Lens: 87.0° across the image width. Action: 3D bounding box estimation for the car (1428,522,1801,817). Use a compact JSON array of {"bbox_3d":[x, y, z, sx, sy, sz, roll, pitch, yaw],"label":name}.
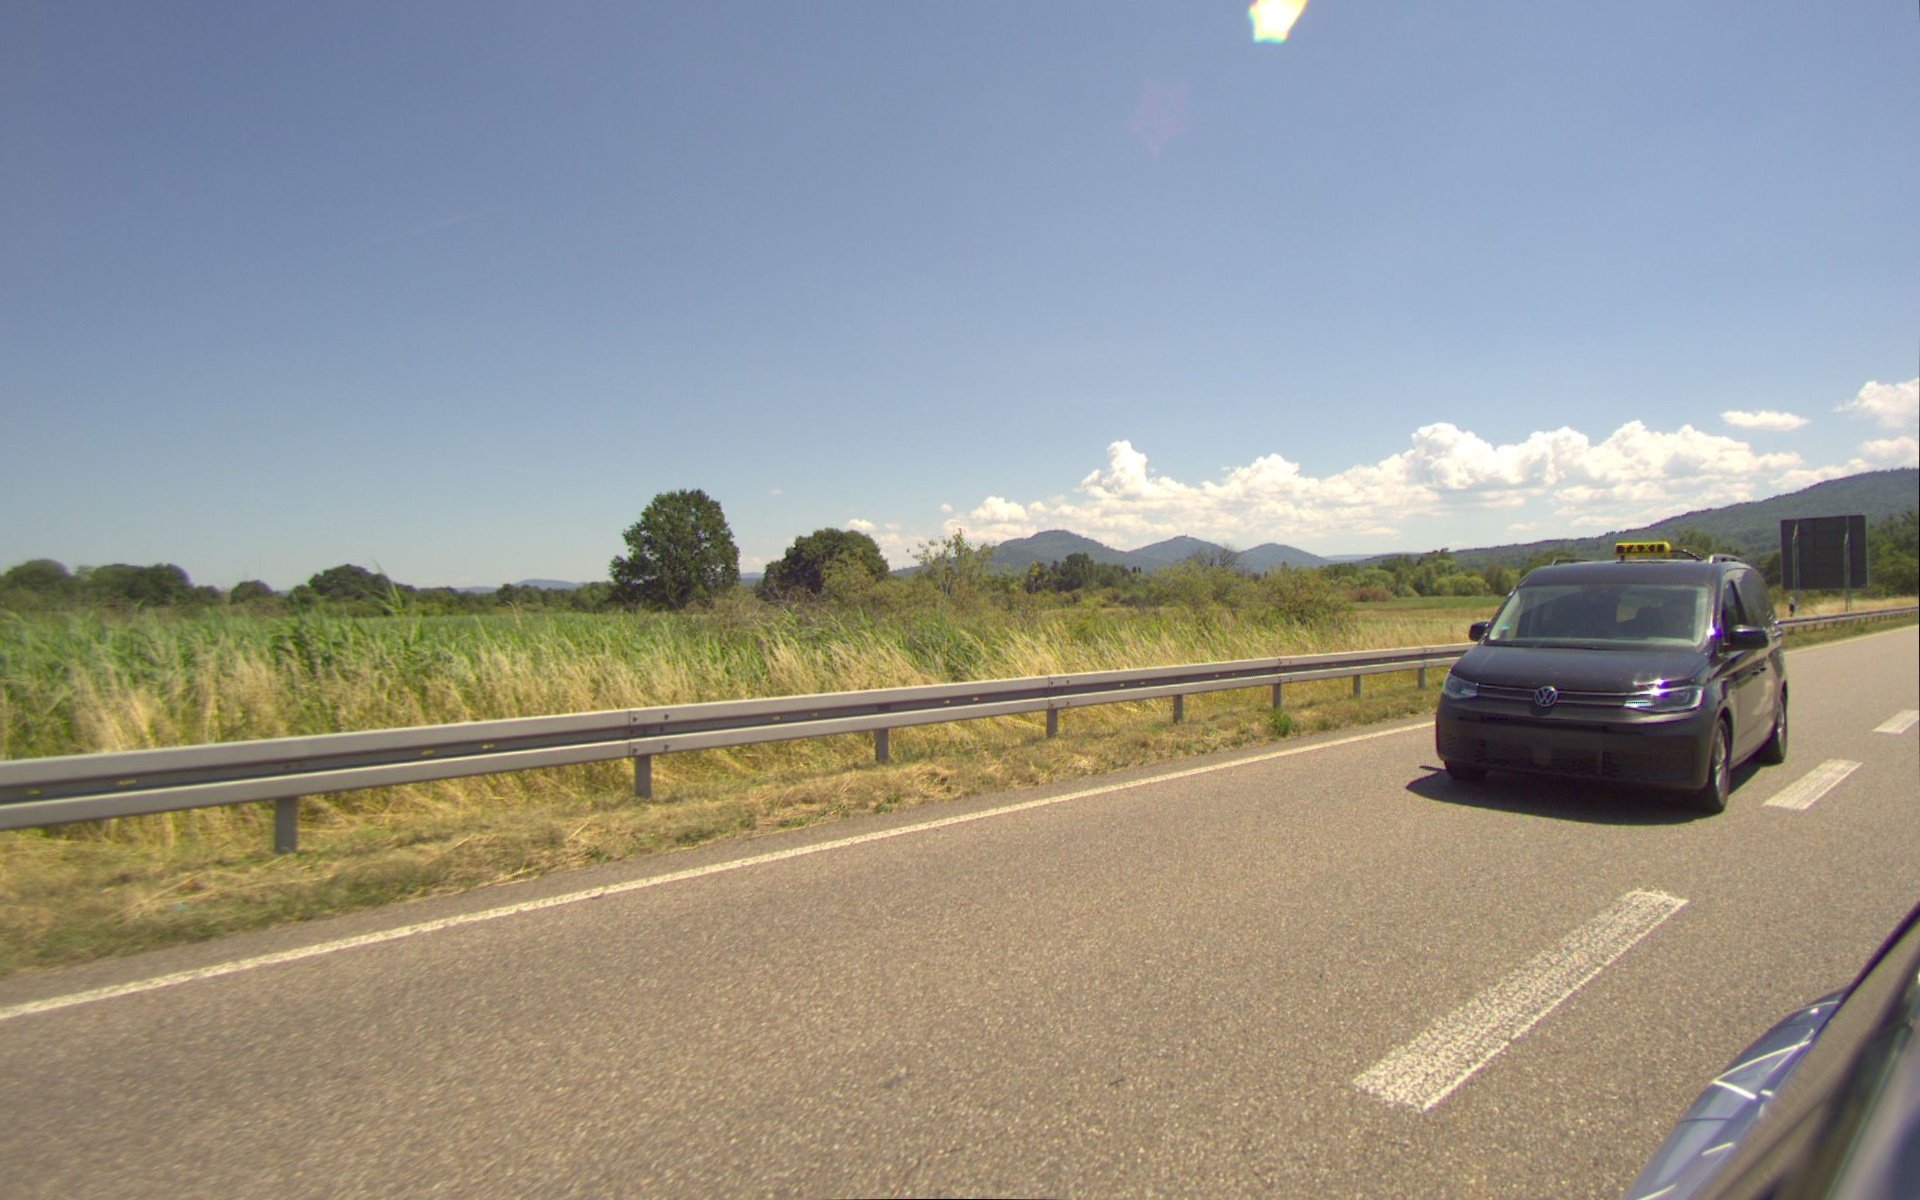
[{"bbox_3d":[5.592,0.405,8.411,1.780,1.840,4.145,0,0,45],"label":"car"}]
